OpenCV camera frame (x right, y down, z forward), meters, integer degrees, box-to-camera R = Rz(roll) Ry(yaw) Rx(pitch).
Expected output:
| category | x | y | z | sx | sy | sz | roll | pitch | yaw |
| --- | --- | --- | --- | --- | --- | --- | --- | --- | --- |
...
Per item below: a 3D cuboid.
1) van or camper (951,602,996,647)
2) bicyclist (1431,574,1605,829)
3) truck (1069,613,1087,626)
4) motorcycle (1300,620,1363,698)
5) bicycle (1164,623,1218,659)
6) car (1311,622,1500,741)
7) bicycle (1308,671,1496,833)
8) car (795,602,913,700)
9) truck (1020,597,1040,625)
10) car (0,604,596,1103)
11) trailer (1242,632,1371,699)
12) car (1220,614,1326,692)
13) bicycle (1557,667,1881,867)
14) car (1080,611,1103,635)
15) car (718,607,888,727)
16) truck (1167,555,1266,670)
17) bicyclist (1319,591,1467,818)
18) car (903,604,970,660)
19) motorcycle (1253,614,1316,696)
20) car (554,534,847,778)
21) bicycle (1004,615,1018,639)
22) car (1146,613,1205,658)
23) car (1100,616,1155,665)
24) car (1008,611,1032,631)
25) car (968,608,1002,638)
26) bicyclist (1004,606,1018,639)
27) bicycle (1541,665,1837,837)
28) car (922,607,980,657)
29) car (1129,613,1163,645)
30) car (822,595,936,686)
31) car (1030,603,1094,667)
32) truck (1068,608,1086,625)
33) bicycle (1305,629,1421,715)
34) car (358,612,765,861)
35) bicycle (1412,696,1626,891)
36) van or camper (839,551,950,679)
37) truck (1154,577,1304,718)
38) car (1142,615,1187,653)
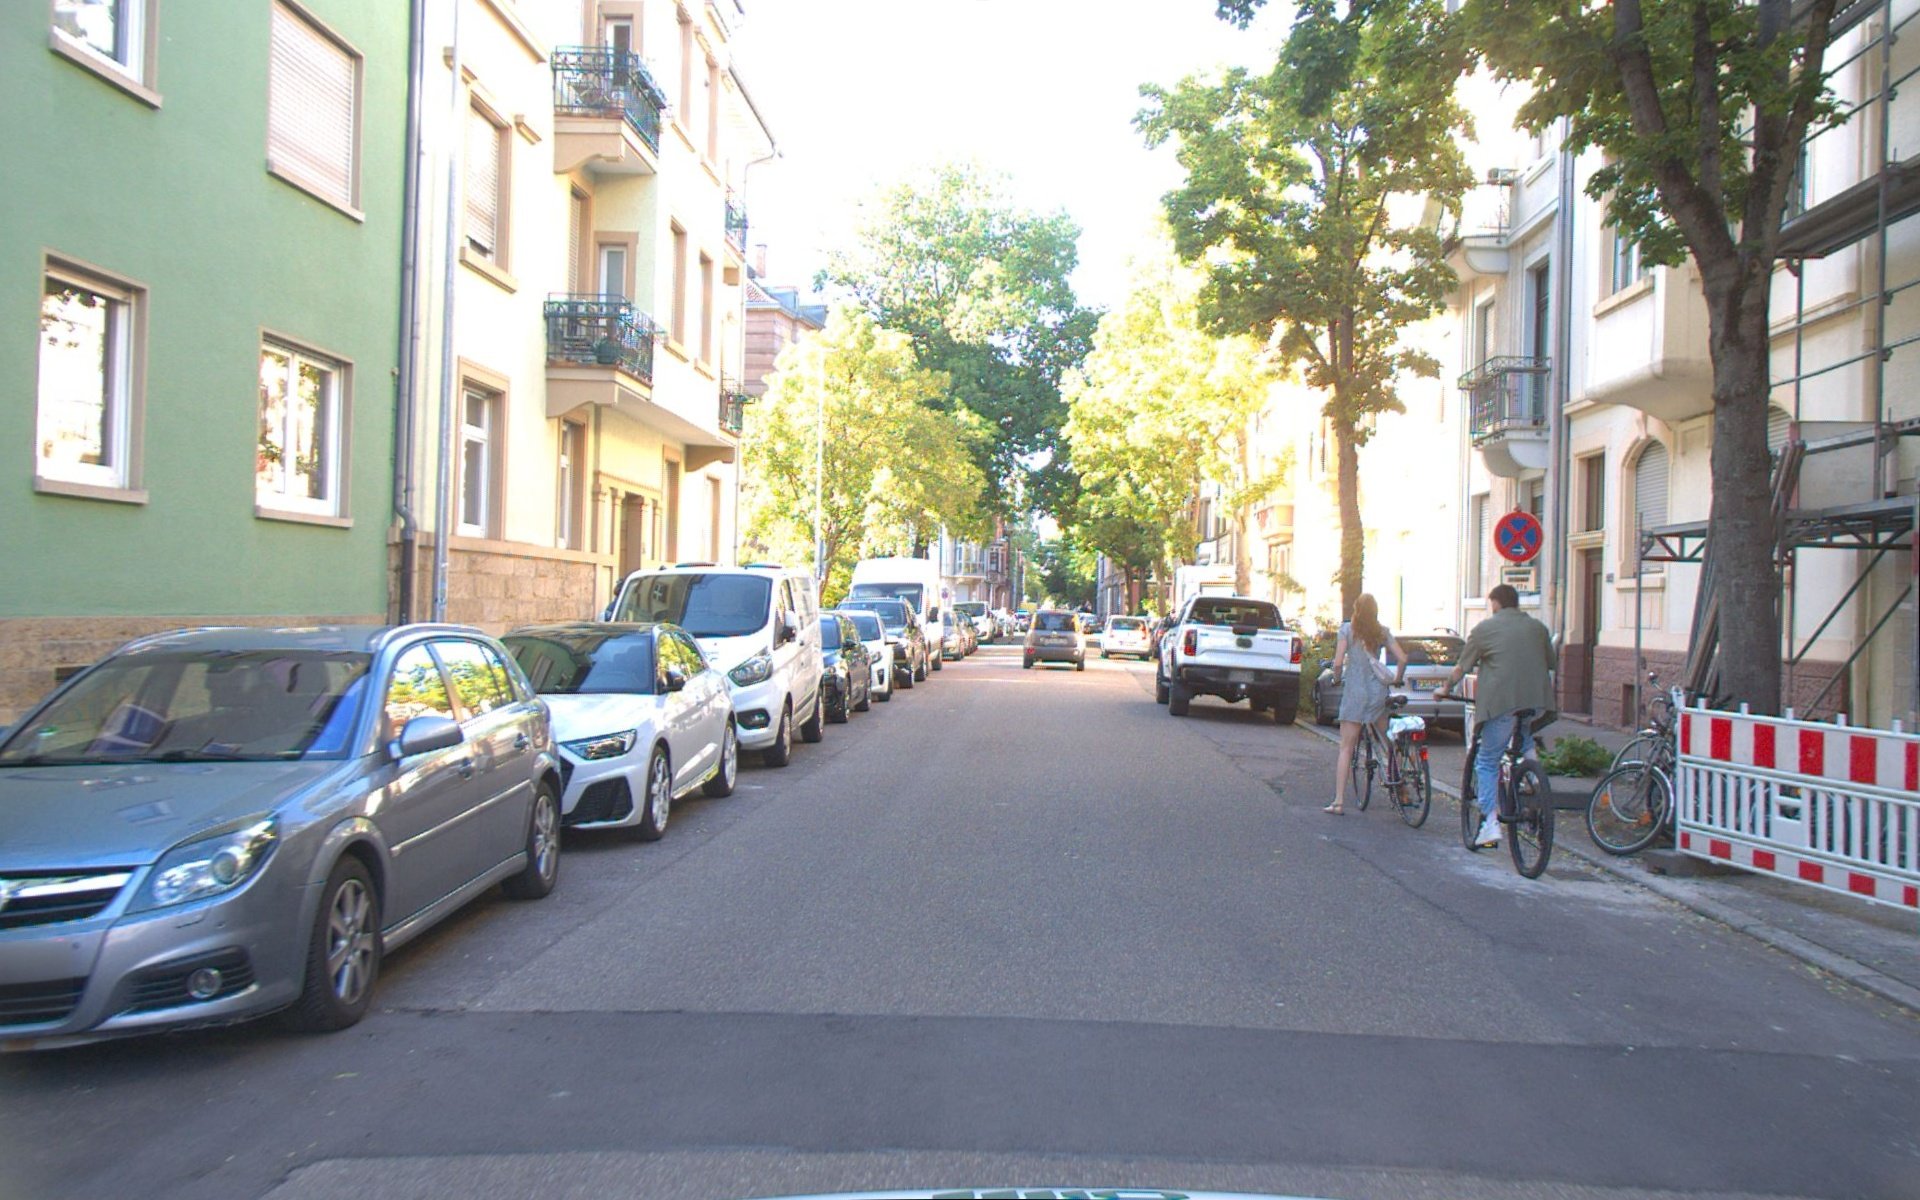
| category | x | y | z | sx | sy | sz | roll | pitch | yaw |
| --- | --- | --- | --- | --- | --- | --- | --- | --- | --- |
| van or camper | 0.651 | 1.131 | 77.366 | 1.882 | 2.014 | 5.463 | -2 | -1 | 2 |
| bicyclist | 3.707 | 0.650 | 11.060 | 0.740 | 1.592 | 0.981 | 3 | 0 | -2 |
| truck | 13.545 | 2.223 | 190.264 | 1.952 | 1.482 | 4.002 | 1 | 0 | 3 |
| motorcycle | 7.278 | 1.135 | 32.472 | 0.843 | 1.441 | 2.235 | 2 | 0 | 4 |
| bicycle | 7.919 | 1.402 | 56.628 | 1.773 | 1.187 | 0.569 | -1 | -1 | 2 |
| car | 6.060 | 1.048 | 22.981 | 1.645 | 1.447 | 4.431 | 0 | 0 | 3 |
| bicycle | 3.478 | 1.171 | 13.203 | 0.693 | 1.063 | 1.854 | 5 | -1 | -9 |
| car | -1.762 | 0.853 | 28.686 | 1.601 | 1.579 | 4.090 | 0 | -1 | 2 |
| truck | 7.741 | 1.253 | 182.262 | 2.027 | 2.977 | 5.070 | -2 | -1 | 4 |
| car | -2.958 | 0.791 | 7.239 | 1.684 | 1.488 | 4.507 | -1 | -1 | 0 |
| trailer | 6.397 | 1.200 | 30.570 | 2.043 | 1.131 | 1.113 | 2 | 0 | -11 |
| car | 6.746 | 1.105 | 36.056 | 1.714 | 1.556 | 4.783 | 1 | 0 | 4 |
| bicycle | 5.121 | 1.081 | 11.205 | 1.889 | 1.141 | 0.745 | 2 | 0 | 33 |
| car | 10.094 | 1.769 | 126.935 | 1.628 | 1.698 | 3.759 | 3 | 0 | 4 |
| car | -2.151 | 0.878 | 23.941 | 1.729 | 1.548 | 4.827 | 0 | 0 | 3 |
| truck | 7.170 | 0.345 | 46.808 | 2.030 | 3.021 | 6.111 | -1 | 0 | 2 |
| bicyclist | 3.463 | 0.810 | 13.291 | 0.702 | 1.718 | 0.979 | 4 | -1 | -10 |
| car | -0.659 | 0.946 | 50.353 | 1.743 | 1.618 | 4.470 | -1 | 0 | 3 |
| motorcycle | 6.355 | 1.054 | 32.495 | 0.910 | 1.512 | 2.139 | 2 | 0 | 4 |
| car | -2.583 | 0.539 | 17.904 | 2.205 | 2.206 | 5.244 | -1 | -1 | 1 |
| bicycle | 2.392 | 1.266 | 77.557 | 0.651 | 1.096 | 1.685 | 1 | 0 | 2 |
| car | 7.985 | 1.307 | 61.596 | 1.749 | 1.540 | 4.461 | 2 | 0 | 2 |
| car | 5.870 | 1.404 | 58.381 | 1.644 | 1.571 | 3.801 | 2 | 0 | 2 |
| car | 4.716 | 1.651 | 129.704 | 1.759 | 1.457 | 3.927 | -2 | 0 | 4 |
| car | 1.418 | 1.269 | 93.175 | 1.787 | 1.581 | 4.134 | -2 | -1 | 1 |
| bicyclist | 2.394 | 1.046 | 77.670 | 0.638 | 1.535 | 0.625 | 1 | 0 | 2 |
| bicycle | 5.516 | 1.124 | 12.637 | 1.934 | 1.141 | 0.748 | 2 | 0 | 14 |
| car | -0.271 | 1.061 | 56.547 | 1.641 | 1.600 | 4.153 | -2 | 0 | 4 |
| car | 9.254 | 1.450 | 82.622 | 1.488 | 1.537 | 3.545 | 1 | 0 | 4 |
| car | -1.577 | 0.775 | 33.758 | 1.836 | 1.715 | 4.971 | -1 | 0 | 3 |
| car | 2.645 | 0.895 | 43.403 | 1.599 | 1.577 | 3.265 | 1 | 0 | 2 |
| truck | 13.814 | 1.927 | 195.644 | 1.952 | 2.027 | 4.002 | 1 | 0 | 3 |
| bicycle | 6.539 | 1.162 | 26.892 | 1.722 | 1.328 | 0.586 | 1 | 0 | 1 |
| car | -2.692 | 0.851 | 12.258 | 1.795 | 1.488 | 4.364 | -1 | -1 | 2 |
| bicycle | 3.663 | 1.234 | 11.018 | 0.724 | 1.078 | 1.857 | 3 | -1 | -1 |
| van or camper | -1.469 | 0.354 | 39.535 | 2.084 | 2.818 | 5.853 | -1 | 0 | 3 |
| truck | 4.226 | 0.704 | 26.758 | 1.790 | 1.983 | 5.543 | 2 | 0 | 3 |
| car | 8.367 | 1.377 | 67.808 | 1.563 | 1.514 | 3.749 | 0 | -1 | 3 |
